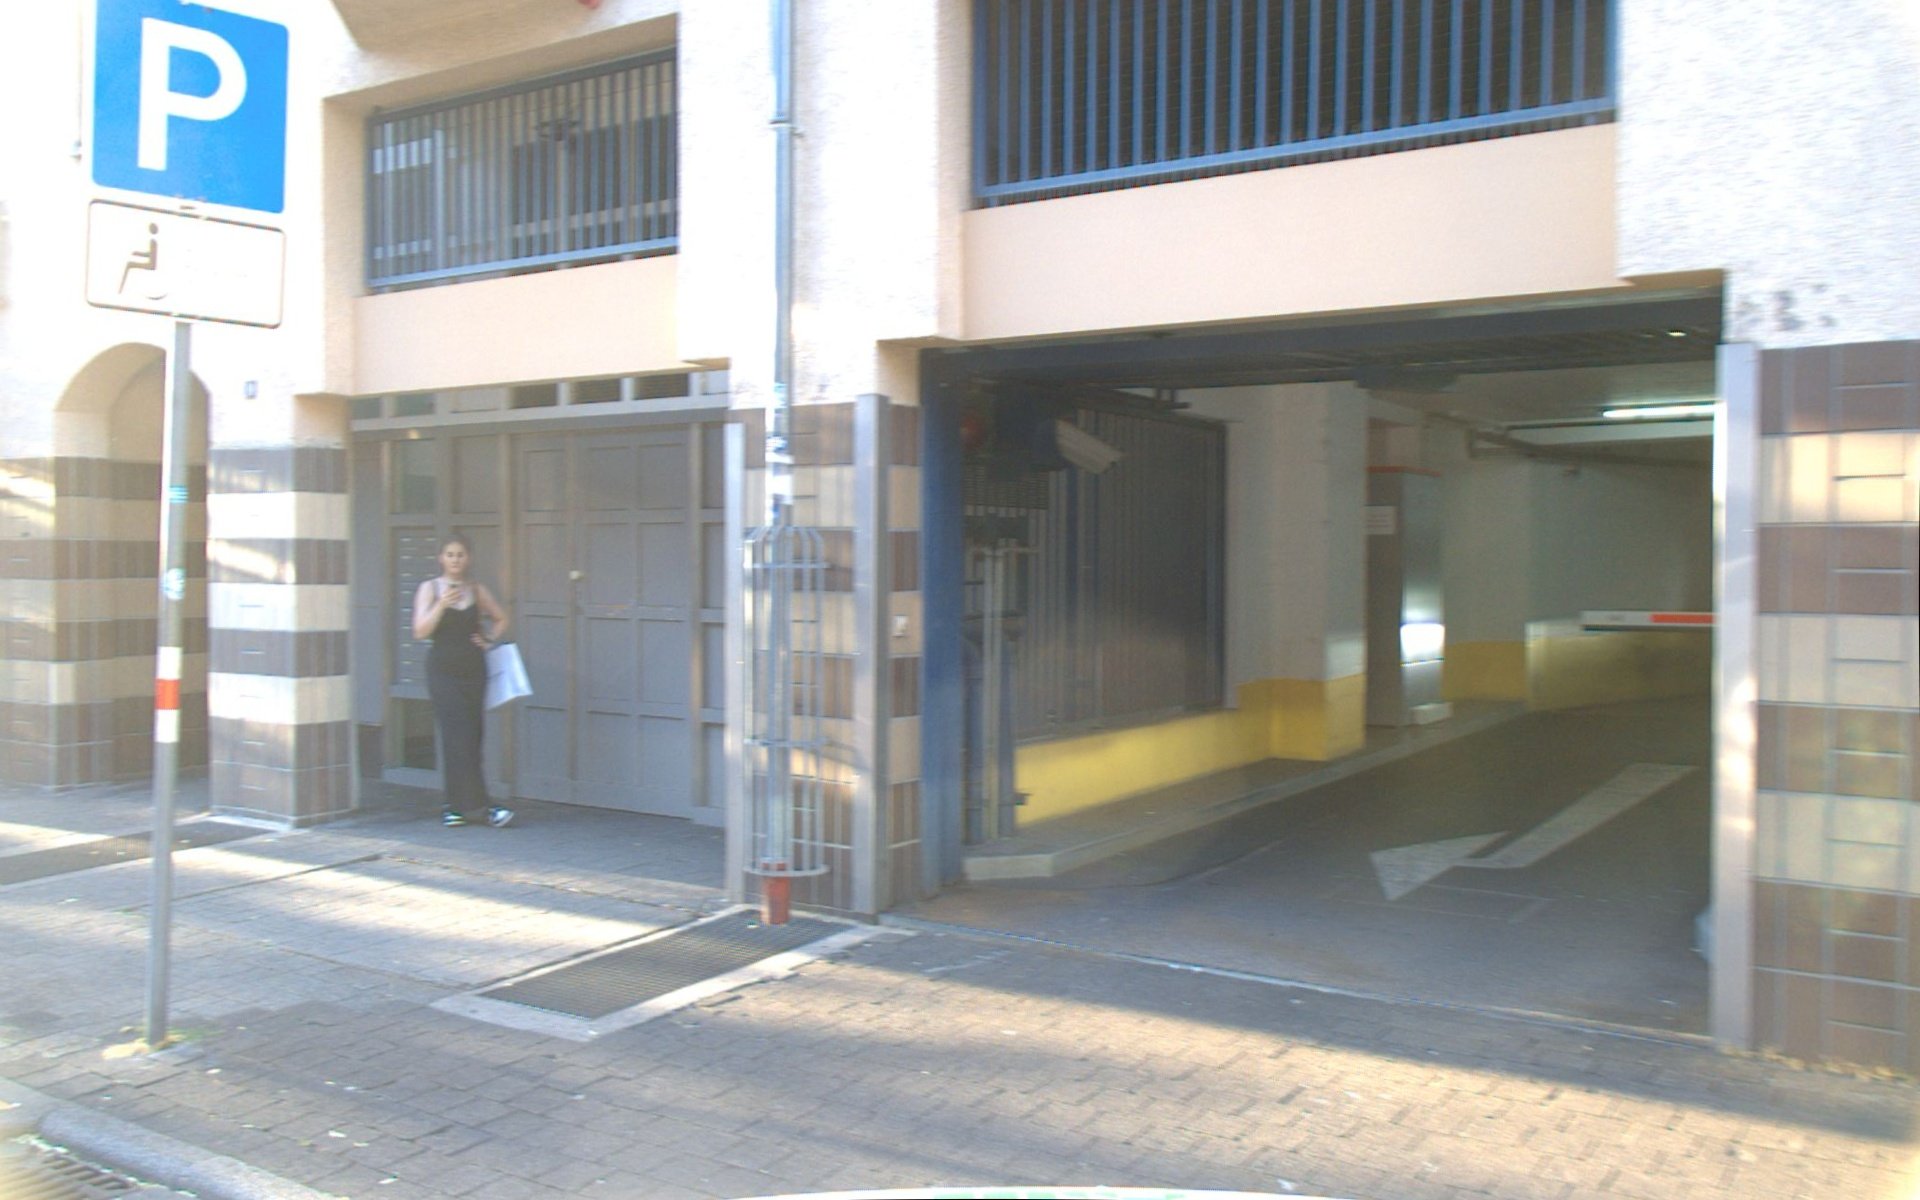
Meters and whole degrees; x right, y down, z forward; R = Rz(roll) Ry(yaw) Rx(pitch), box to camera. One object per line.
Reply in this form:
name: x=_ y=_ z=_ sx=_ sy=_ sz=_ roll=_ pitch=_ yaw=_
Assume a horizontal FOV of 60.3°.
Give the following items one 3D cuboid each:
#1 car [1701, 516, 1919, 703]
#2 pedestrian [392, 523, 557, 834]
car: x=9.165 y=0.001 z=16.206 sx=4.209 sy=1.600 sz=1.794 roll=-2 pitch=2 yaw=-39
pedestrian: x=-2.625 y=0.396 z=8.942 sx=0.767 sy=1.599 sz=0.529 roll=-1 pitch=1 yaw=-29
